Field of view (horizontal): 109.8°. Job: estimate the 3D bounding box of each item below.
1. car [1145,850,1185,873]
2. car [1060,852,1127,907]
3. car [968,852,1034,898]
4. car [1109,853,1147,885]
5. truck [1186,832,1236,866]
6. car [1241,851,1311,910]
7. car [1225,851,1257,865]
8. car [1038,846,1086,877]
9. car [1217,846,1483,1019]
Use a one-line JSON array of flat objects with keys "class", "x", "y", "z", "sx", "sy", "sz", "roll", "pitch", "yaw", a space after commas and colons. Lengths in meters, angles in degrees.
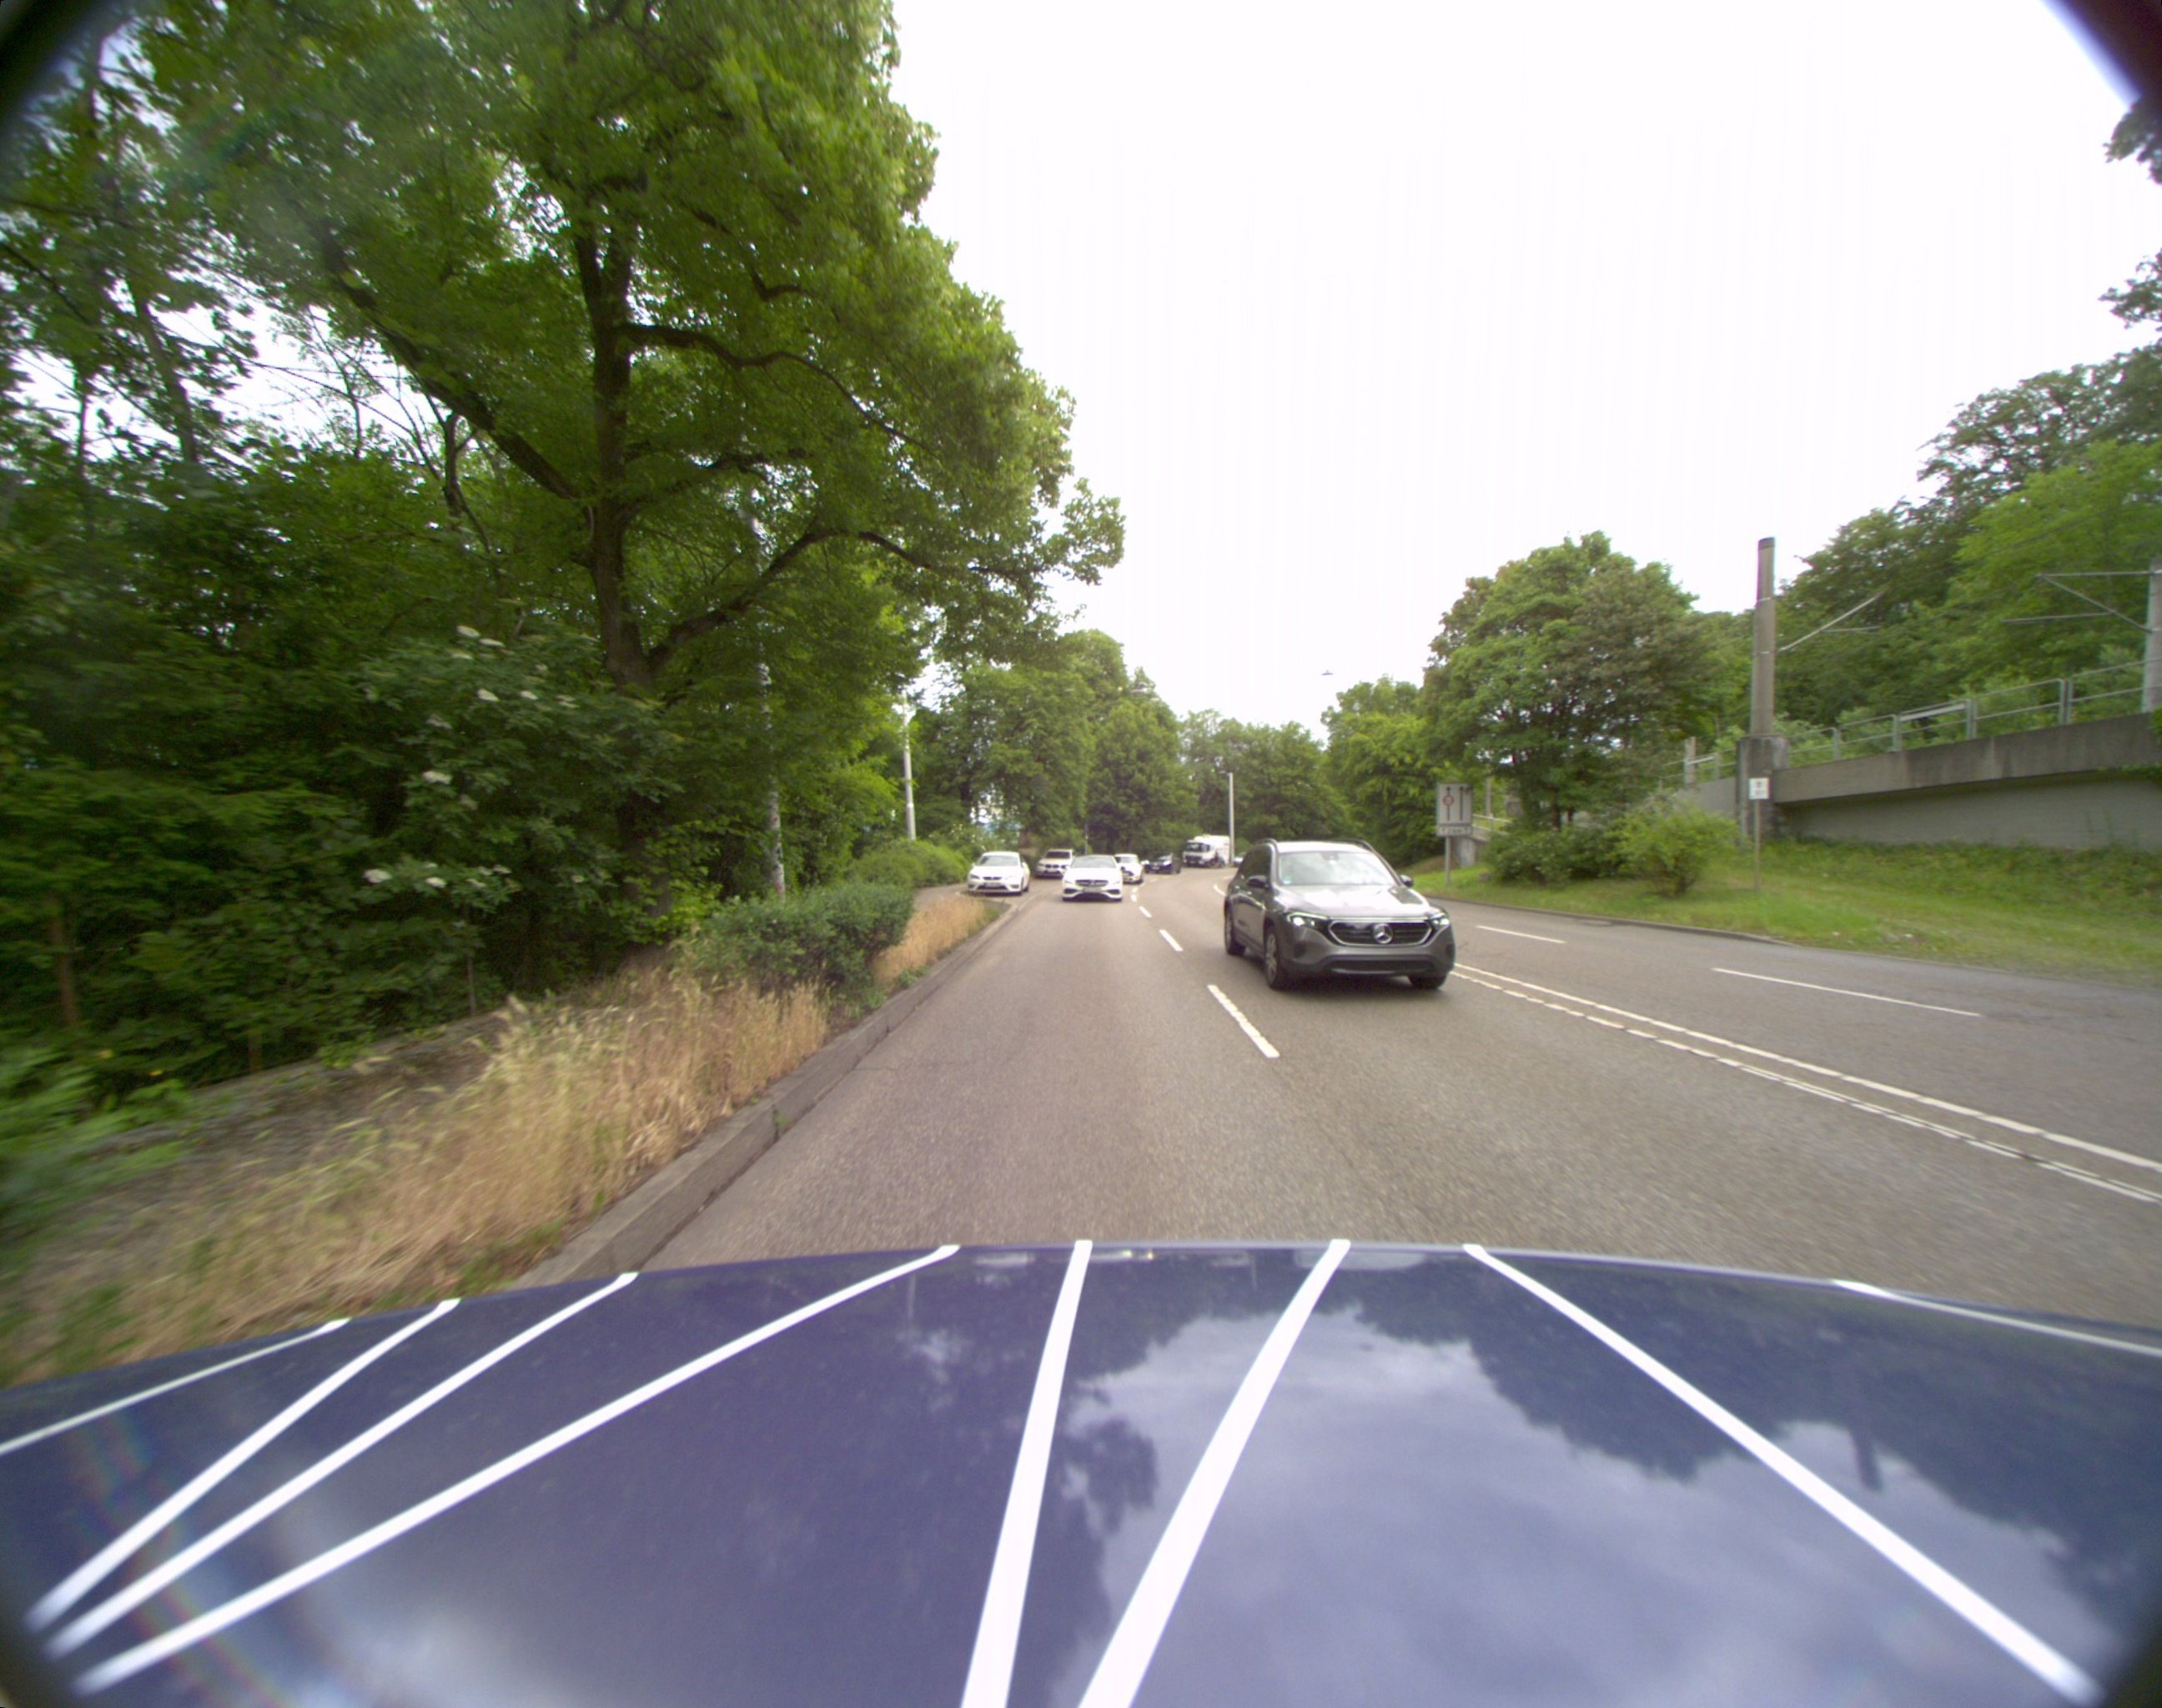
[{"class": "car", "x": 5.912, "y": 0.511, "z": 52.902, "sx": 1.752, "sy": 1.417, "sz": 4.017, "roll": 3, "pitch": 1, "yaw": 21}, {"class": "car", "x": 0.403, "y": 0.690, "z": 22.828, "sx": 1.801, "sy": 1.470, "sz": 4.010, "roll": 1, "pitch": 0, "yaw": 1}, {"class": "car", "x": -2.654, "y": 0.649, "z": 25.951, "sx": 1.765, "sy": 1.433, "sz": 3.892, "roll": 1, "pitch": 0, "yaw": 1}, {"class": "car", "x": 2.304, "y": 0.706, "z": 36.934, "sx": 1.688, "sy": 1.415, "sz": 3.734, "roll": 2, "pitch": 0, "yaw": 4}, {"class": "truck", "x": 12.686, "y": -0.492, "z": 73.815, "sx": 2.195, "sy": 3.137, "sz": 6.665, "roll": 1, "pitch": 0, "yaw": 33}, {"class": "car", "x": 5.892, "y": 0.738, "z": 23.390, "sx": 1.852, "sy": 1.641, "sz": 4.361, "roll": 0, "pitch": 0, "yaw": 11}, {"class": "car", "x": 17.198, "y": 0.421, "z": 81.380, "sx": 1.751, "sy": 1.354, "sz": 4.019, "roll": 3, "pitch": 1, "yaw": 38}, {"class": "car", "x": -0.981, "y": 0.398, "z": 41.393, "sx": 1.754, "sy": 1.575, "sz": 4.014, "roll": 1, "pitch": 0, "yaw": 11}, {"class": "car", "x": 2.950, "y": 0.745, "z": 9.431, "sx": 1.854, "sy": 1.641, "sz": 4.358, "roll": 0, "pitch": 0, "yaw": 1}]
